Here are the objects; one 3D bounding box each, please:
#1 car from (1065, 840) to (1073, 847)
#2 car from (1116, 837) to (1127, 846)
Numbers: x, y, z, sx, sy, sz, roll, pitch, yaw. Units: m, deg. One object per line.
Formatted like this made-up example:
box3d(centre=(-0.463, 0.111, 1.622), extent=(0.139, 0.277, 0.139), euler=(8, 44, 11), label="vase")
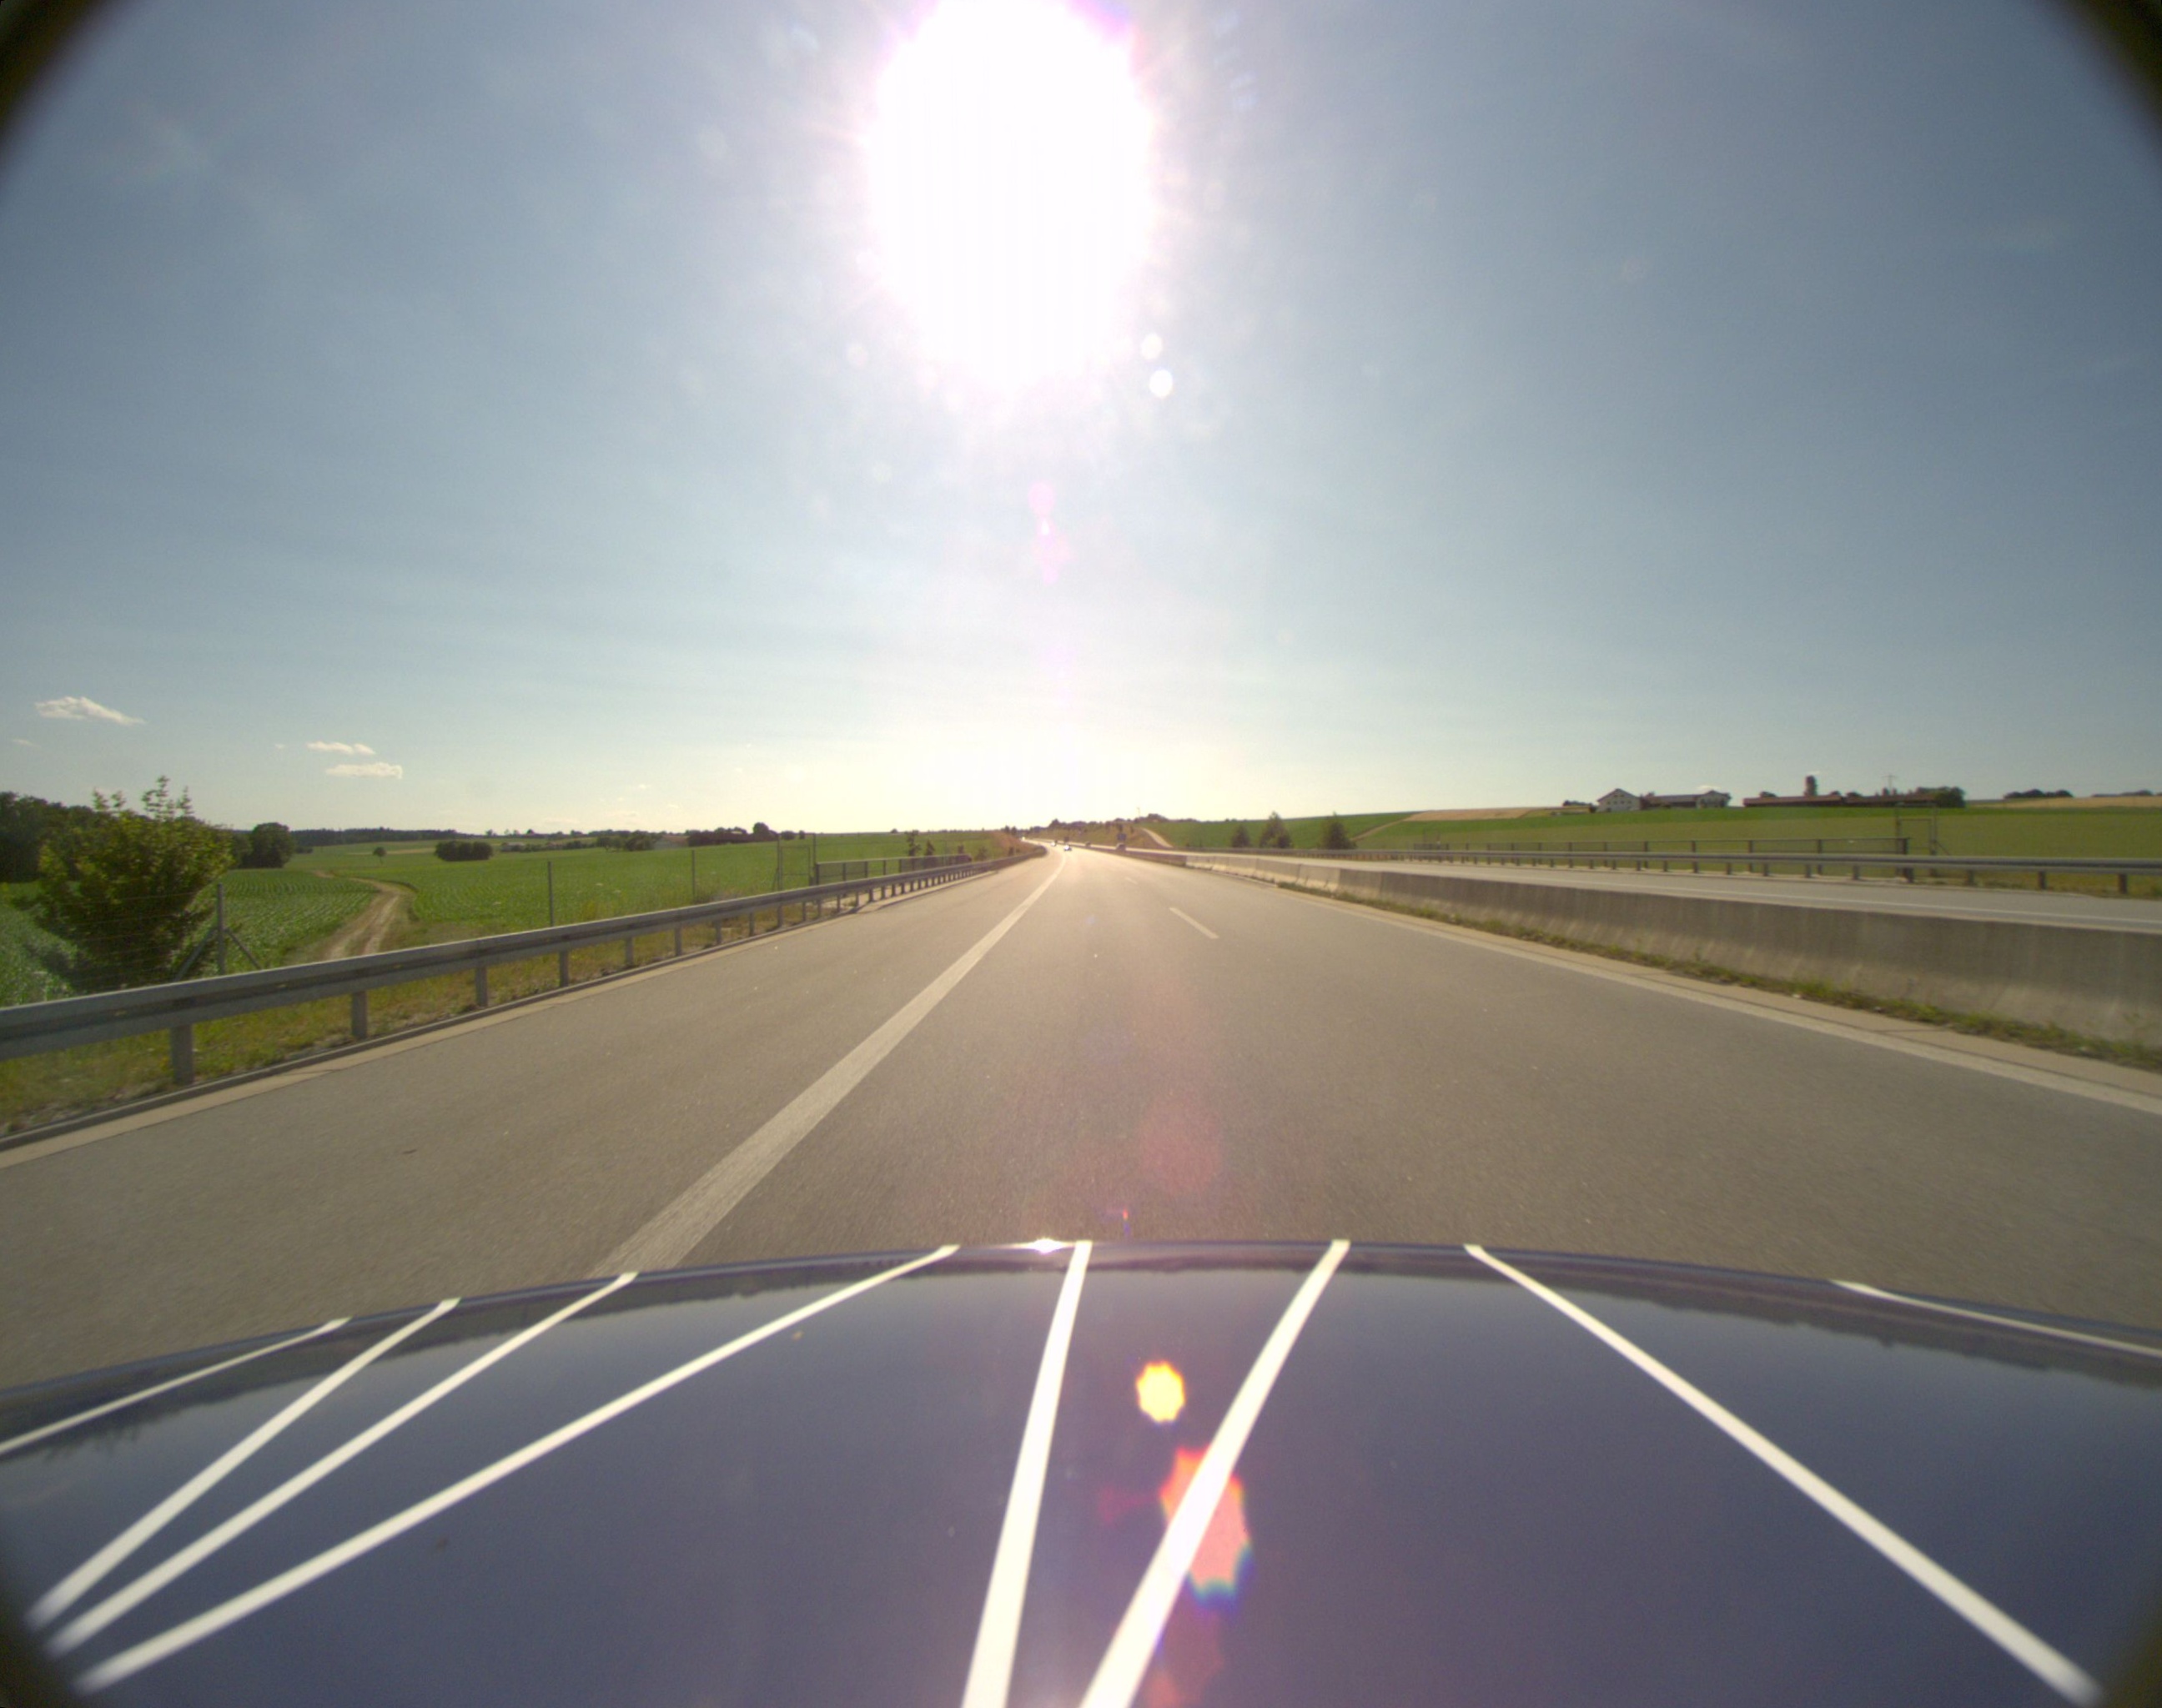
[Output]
box3d(centre=(-2.811, -2.634, 183.046), extent=(1.715, 1.580, 4.626), euler=(-2, 1, 2), label="car")
box3d(centre=(8.662, -2.667, 161.696), extent=(1.871, 1.715, 4.396), euler=(-3, 1, -3), label="car")
